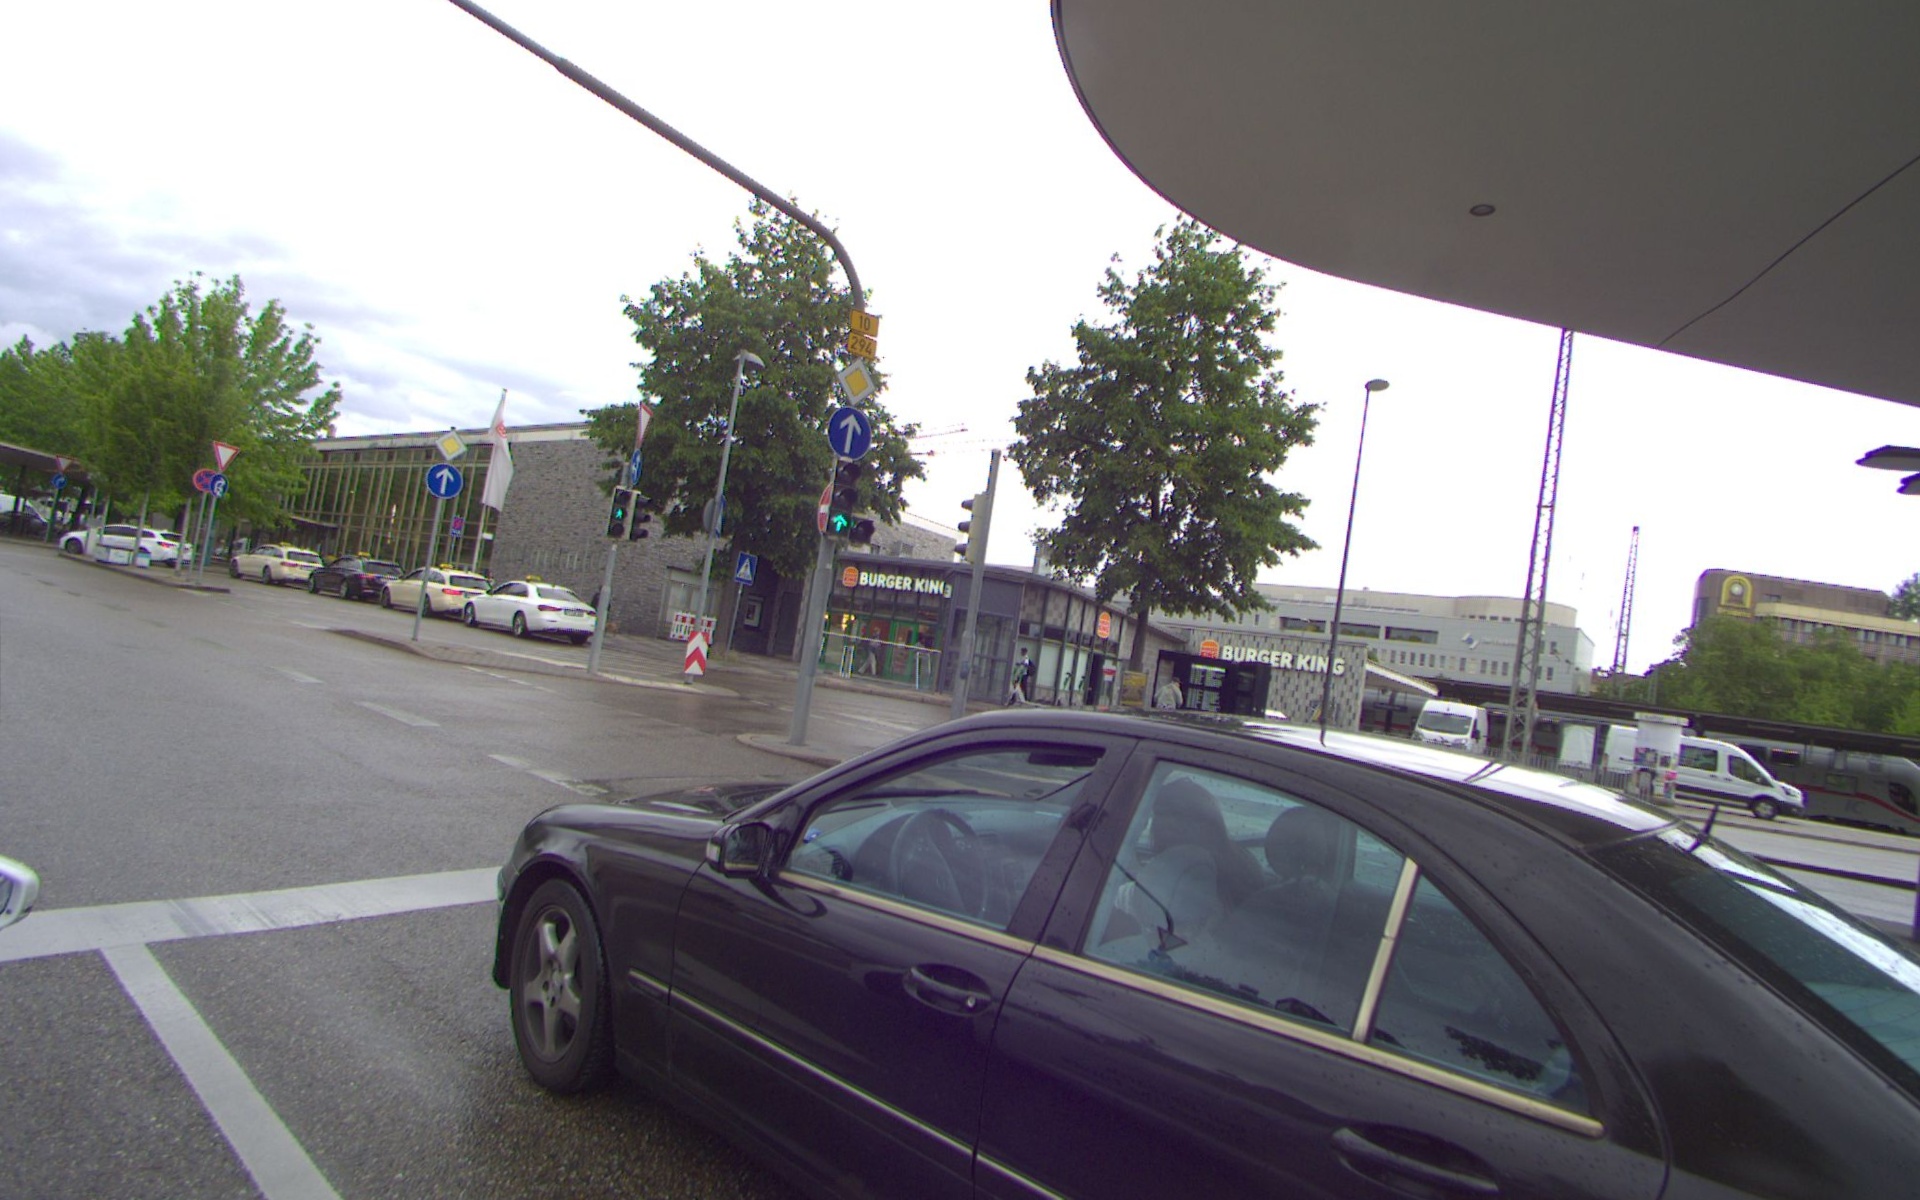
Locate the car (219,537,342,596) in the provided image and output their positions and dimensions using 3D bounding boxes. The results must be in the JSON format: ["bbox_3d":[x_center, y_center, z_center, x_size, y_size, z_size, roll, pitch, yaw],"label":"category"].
[{"bbox_3d":[-26.072,-1.292,38.562,4.876,1.618,1.997,6,-2,32],"label":"car"}]

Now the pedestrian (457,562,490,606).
[{"bbox_3d":[-18.972,-0.622,39.242,0.700,1.598,0.769,6,-1,36],"label":"pedestrian"}]

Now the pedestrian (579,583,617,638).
[{"bbox_3d":[-11.454,0.333,31.809,0.783,1.645,0.722,7,-1,-5],"label":"pedestrian"}]

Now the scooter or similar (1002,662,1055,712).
[{"bbox_3d":[1.865,2.368,27.386,1.279,1.196,0.334,7,-1,6],"label":"scooter or similar"}]

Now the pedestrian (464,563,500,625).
[{"bbox_3d":[-17.906,-0.229,37.706,0.713,2.189,0.794,6,-1,42],"label":"pedestrian"}]

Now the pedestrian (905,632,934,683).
[{"bbox_3d":[-1.446,2.019,35.507,0.711,1.686,0.796,7,-1,-12],"label":"pedestrian"}]

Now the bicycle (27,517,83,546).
[{"bbox_3d":[-42.322,-3.197,47.074,0.414,1.068,1.827,6,-2,39],"label":"bicycle"}]

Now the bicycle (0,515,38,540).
[{"bbox_3d":[-49.028,-3.771,52.090,0.413,1.068,1.834,6,-2,22],"label":"bicycle"}]

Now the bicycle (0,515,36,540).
[{"bbox_3d":[-49.398,-3.806,52.380,0.413,1.068,1.834,6,-2,22],"label":"bicycle"}]

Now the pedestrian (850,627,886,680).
[{"bbox_3d":[-3.081,1.793,33.749,0.717,1.686,0.789,8,-1,-40],"label":"pedestrian"}]

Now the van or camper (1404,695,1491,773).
[{"bbox_3d":[18.819,5.093,38.632,2.130,2.461,5.855,6,-2,33],"label":"van or camper"}]

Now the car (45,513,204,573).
[{"bbox_3d":[-33.204,-2.236,40.060,4.689,1.563,1.766,8,-3,0],"label":"car"}]

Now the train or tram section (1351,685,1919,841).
[{"bbox_3d":[38.850,9.052,59.752,28.888,4.230,4.589,5,-2,40],"label":"train or tram section"}]

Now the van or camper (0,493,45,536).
[{"bbox_3d":[-71.163,-6.542,73.510,2.157,2.794,5.974,7,-2,13],"label":"van or camper"}]

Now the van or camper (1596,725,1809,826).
[{"bbox_3d":[26.230,6.114,35.740,5.780,2.461,1.993,5,-2,40],"label":"van or camper"}]

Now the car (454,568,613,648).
[{"bbox_3d":[-11.624,0.191,27.259,4.833,1.618,1.879,5,-2,40],"label":"car"}]

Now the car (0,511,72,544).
[{"bbox_3d":[-56.182,-4.429,60.143,1.806,1.339,4.205,6,-4,20],"label":"car"}]

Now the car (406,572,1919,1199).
[{"bbox_3d":[0.432,0.892,2.621,4.388,1.482,1.694,5,-2,40],"label":"car"}]

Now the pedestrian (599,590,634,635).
[{"bbox_3d":[-12.252,0.447,35.883,0.709,1.494,0.798,7,-1,9],"label":"pedestrian"}]

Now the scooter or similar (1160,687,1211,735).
[{"bbox_3d":[6.436,3.165,28.762,1.279,1.196,0.334,7,-1,6],"label":"scooter or similar"}]

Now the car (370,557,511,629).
[{"bbox_3d":[-16.018,-0.246,30.911,4.887,1.618,1.993,6,-2,40],"label":"car"}]

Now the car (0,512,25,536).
[{"bbox_3d":[-67.198,-5.479,69.052,1.829,1.458,4.008,7,-3,13],"label":"car"}]

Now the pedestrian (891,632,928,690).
[{"bbox_3d":[-1.564,1.896,31.294,0.762,1.689,0.646,8,2,18],"label":"pedestrian"}]

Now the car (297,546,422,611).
[{"bbox_3d":[-20.899,-0.771,34.933,4.885,1.617,1.995,6,-4,39],"label":"car"}]

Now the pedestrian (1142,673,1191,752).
[{"bbox_3d":[4.400,2.376,21.450,0.824,1.547,0.638,7,-1,10],"label":"pedestrian"}]

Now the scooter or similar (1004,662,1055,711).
[{"bbox_3d":[1.941,2.402,27.983,1.279,1.196,0.334,7,-1,6],"label":"scooter or similar"}]
